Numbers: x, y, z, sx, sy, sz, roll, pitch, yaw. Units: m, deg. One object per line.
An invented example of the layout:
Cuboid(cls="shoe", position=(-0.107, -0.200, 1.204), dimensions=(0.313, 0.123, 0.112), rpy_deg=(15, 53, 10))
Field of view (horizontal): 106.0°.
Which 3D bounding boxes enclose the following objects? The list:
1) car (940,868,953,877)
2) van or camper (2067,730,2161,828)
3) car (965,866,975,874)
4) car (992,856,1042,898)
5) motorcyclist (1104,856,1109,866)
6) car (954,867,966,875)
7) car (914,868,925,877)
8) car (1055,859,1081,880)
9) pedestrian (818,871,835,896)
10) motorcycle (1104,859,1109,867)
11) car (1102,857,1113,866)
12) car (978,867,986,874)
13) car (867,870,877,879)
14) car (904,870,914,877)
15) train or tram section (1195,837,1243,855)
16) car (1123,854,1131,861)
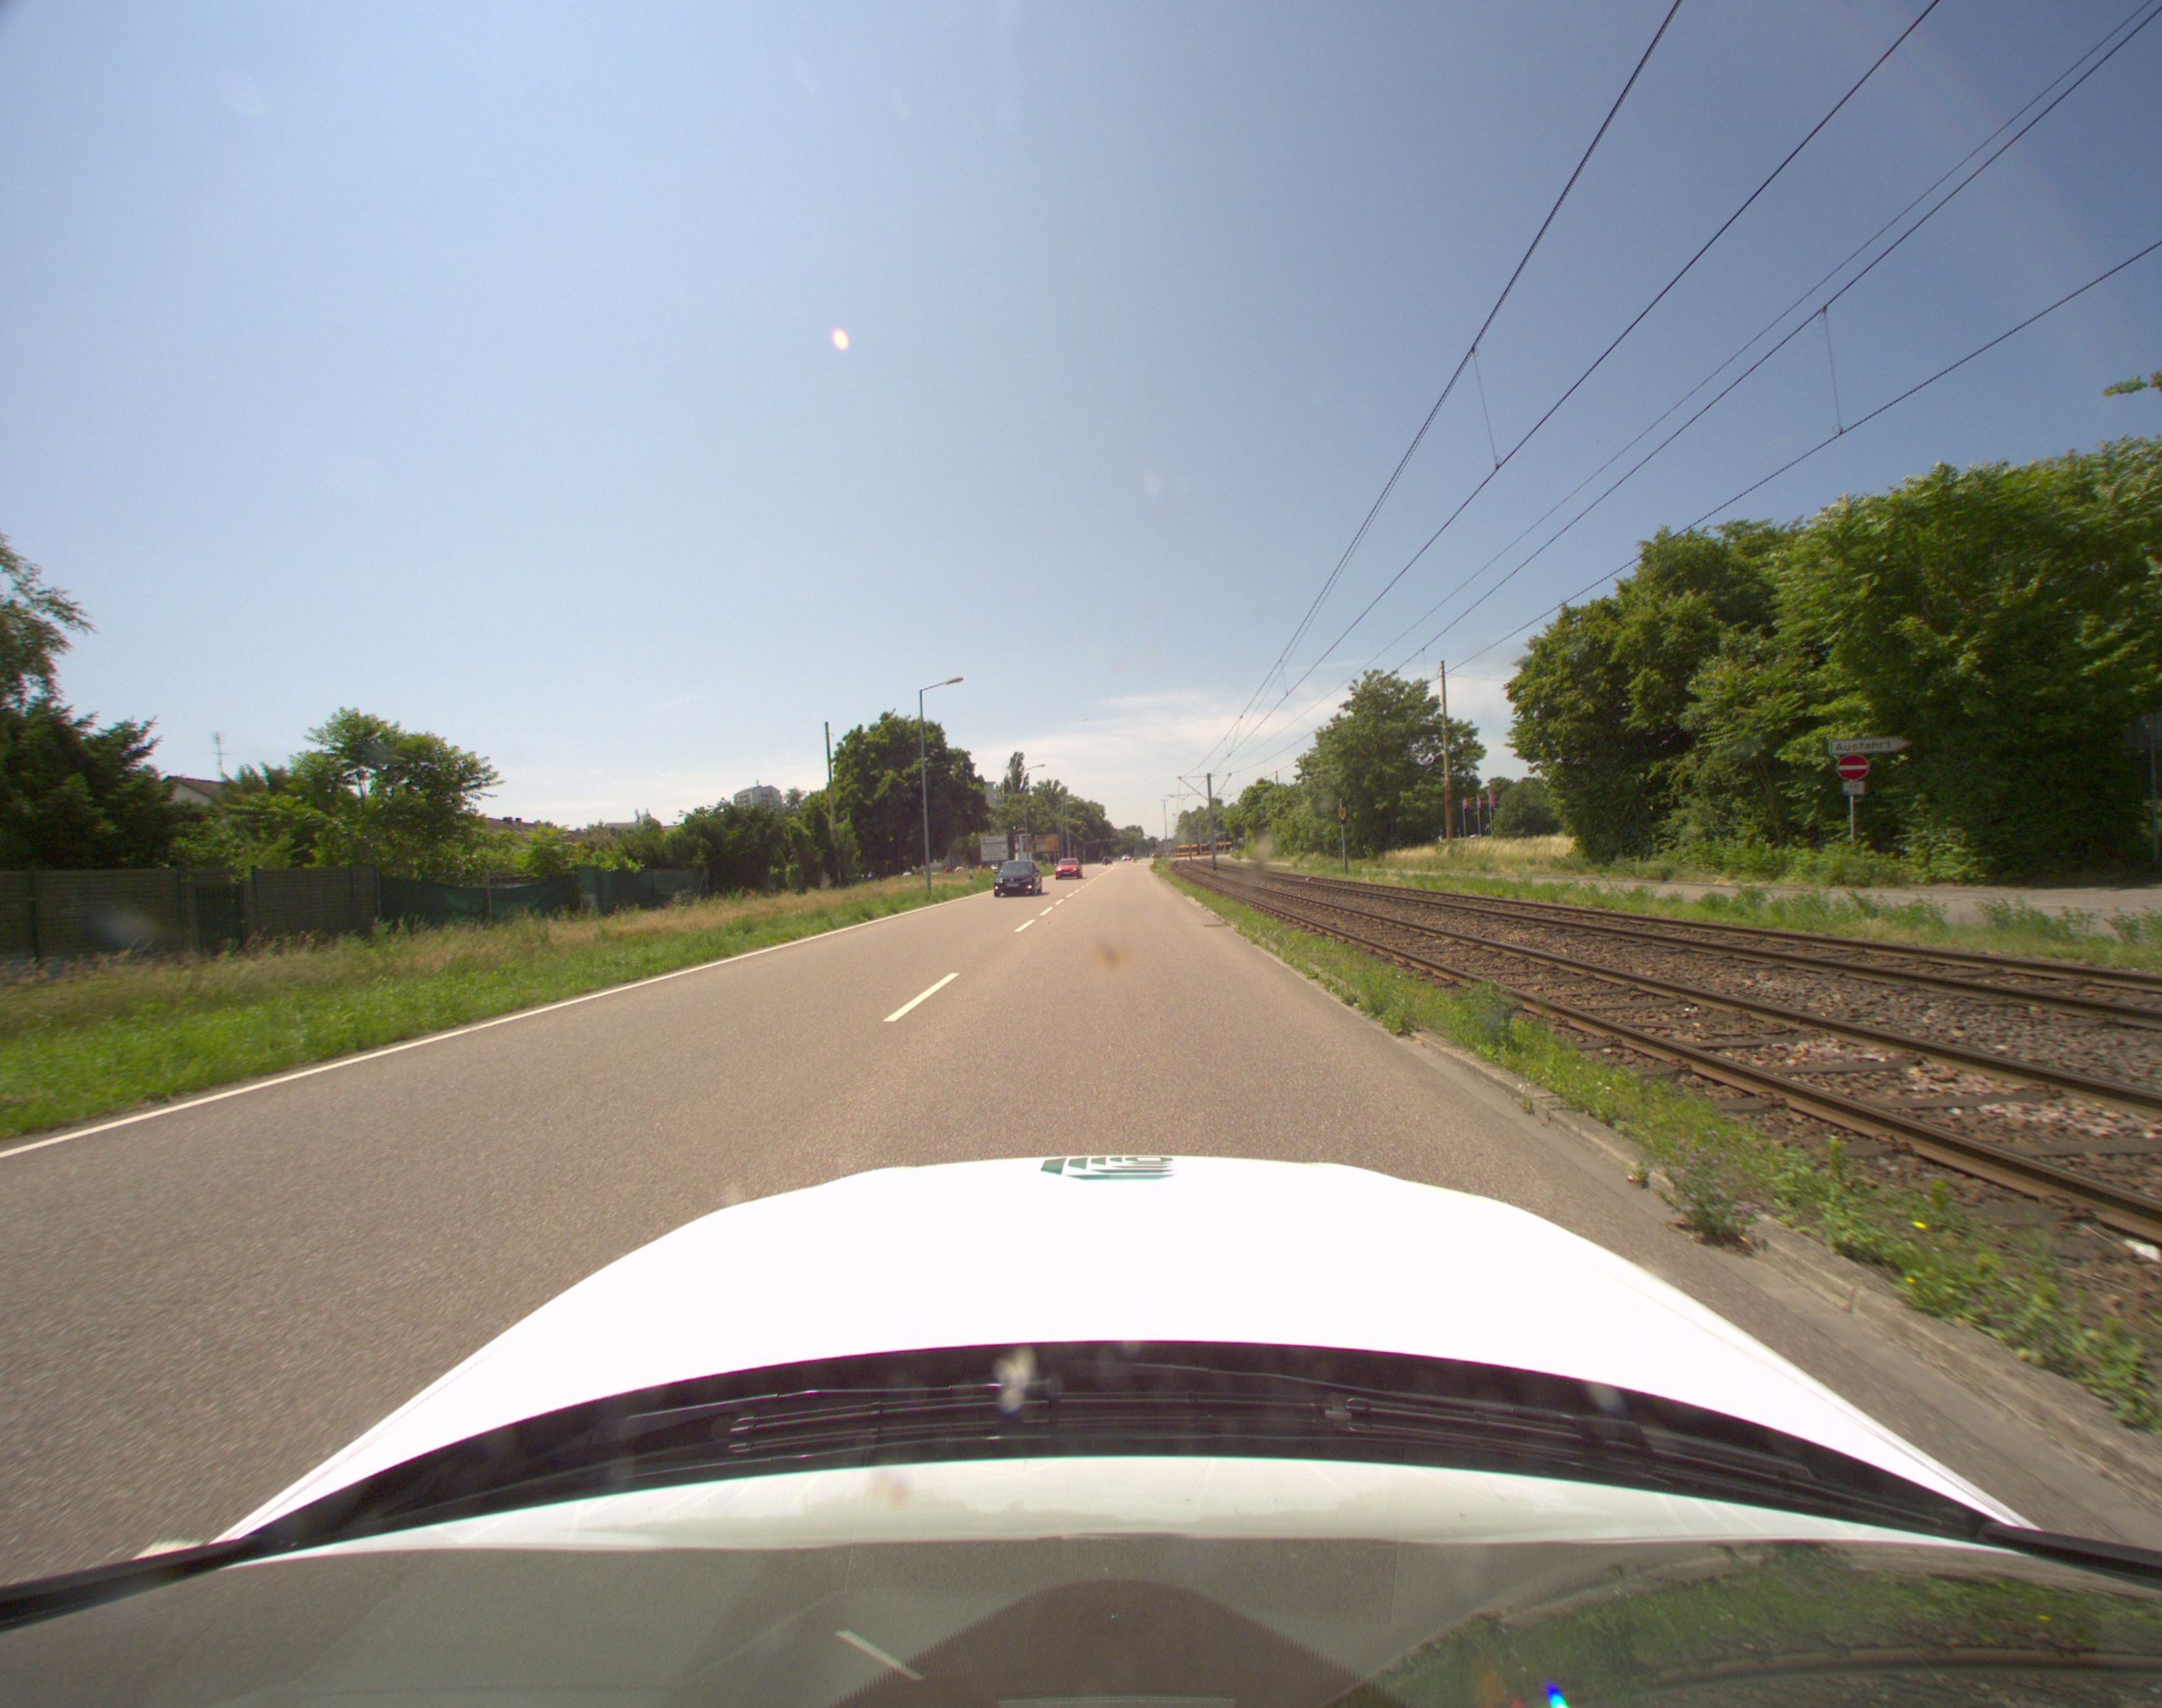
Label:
Cuboid(cls="car", position=(-29.961, 4.119, 181.042), dimensions=(1.856, 1.668, 3.966), rpy_deg=(-3, -1, -25))
Cuboid(cls="van or camper", position=(34.633, -2.336, 25.911), dimensions=(2.307, 2.640, 4.457), rpy_deg=(4, 0, 24))
Cuboid(cls="car", position=(-24.887, 3.554, 182.561), dimensions=(1.709, 1.801, 3.976), rpy_deg=(-2, 0, -17))
Cuboid(cls="car", position=(-2.602, 0.911, 33.847), dimensions=(1.678, 1.570, 3.968), rpy_deg=(-2, 0, 1))
Cuboid(cls="motorcyclist", position=(4.349, 1.251, 138.568), dimensions=(0.787, 1.643, 1.211), rpy_deg=(-2, -1, 2))
Cuboid(cls="car", position=(-27.092, 3.799, 181.790), dimensions=(1.711, 1.592, 3.970), rpy_deg=(-2, 0, -22))
Cuboid(cls="car", position=(-35.657, 4.056, 179.641), dimensions=(1.851, 1.711, 3.976), rpy_deg=(-3, 1, -18))
Cuboid(cls="car", position=(-0.909, 1.068, 57.354), dimensions=(1.673, 1.399, 4.000), rpy_deg=(-2, 0, 1))
Cuboid(cls="pedestrian", position=(-14.199, 1.641, 45.483), dimensions=(0.578, 1.355, 0.799), rpy_deg=(-2, 0, 4))
Cuboid(cls="motorcycle", position=(4.366, 1.504, 138.731), dimensions=(0.844, 1.255, 2.449), rpy_deg=(-2, 0, 1))
Cuboid(cls="car", position=(5.089, 1.418, 157.329), dimensions=(1.898, 1.499, 4.634), rpy_deg=(-2, 0, 3))
Cuboid(cls="car", position=(-22.286, 3.668, 183.061), dimensions=(1.618, 1.464, 3.984), rpy_deg=(-2, 0, -11))
Cuboid(cls="car", position=(-44.963, 4.438, 175.105), dimensions=(1.851, 1.948, 3.976), rpy_deg=(-2, 0, -18))
Cuboid(cls="car", position=(-37.668, 4.250, 178.402), dimensions=(1.692, 1.562, 3.815), rpy_deg=(-3, 0, -17))
Cuboid(cls="train or tram section", position=(38.491, -2.168, 228.287), dimensions=(13.786, 3.919, 2.941), rpy_deg=(-5, -4, 42))
Cuboid(cls="car", position=(12.185, 0.985, 215.064), dimensions=(1.776, 1.628, 3.871), rpy_deg=(-4, 0, 5))
